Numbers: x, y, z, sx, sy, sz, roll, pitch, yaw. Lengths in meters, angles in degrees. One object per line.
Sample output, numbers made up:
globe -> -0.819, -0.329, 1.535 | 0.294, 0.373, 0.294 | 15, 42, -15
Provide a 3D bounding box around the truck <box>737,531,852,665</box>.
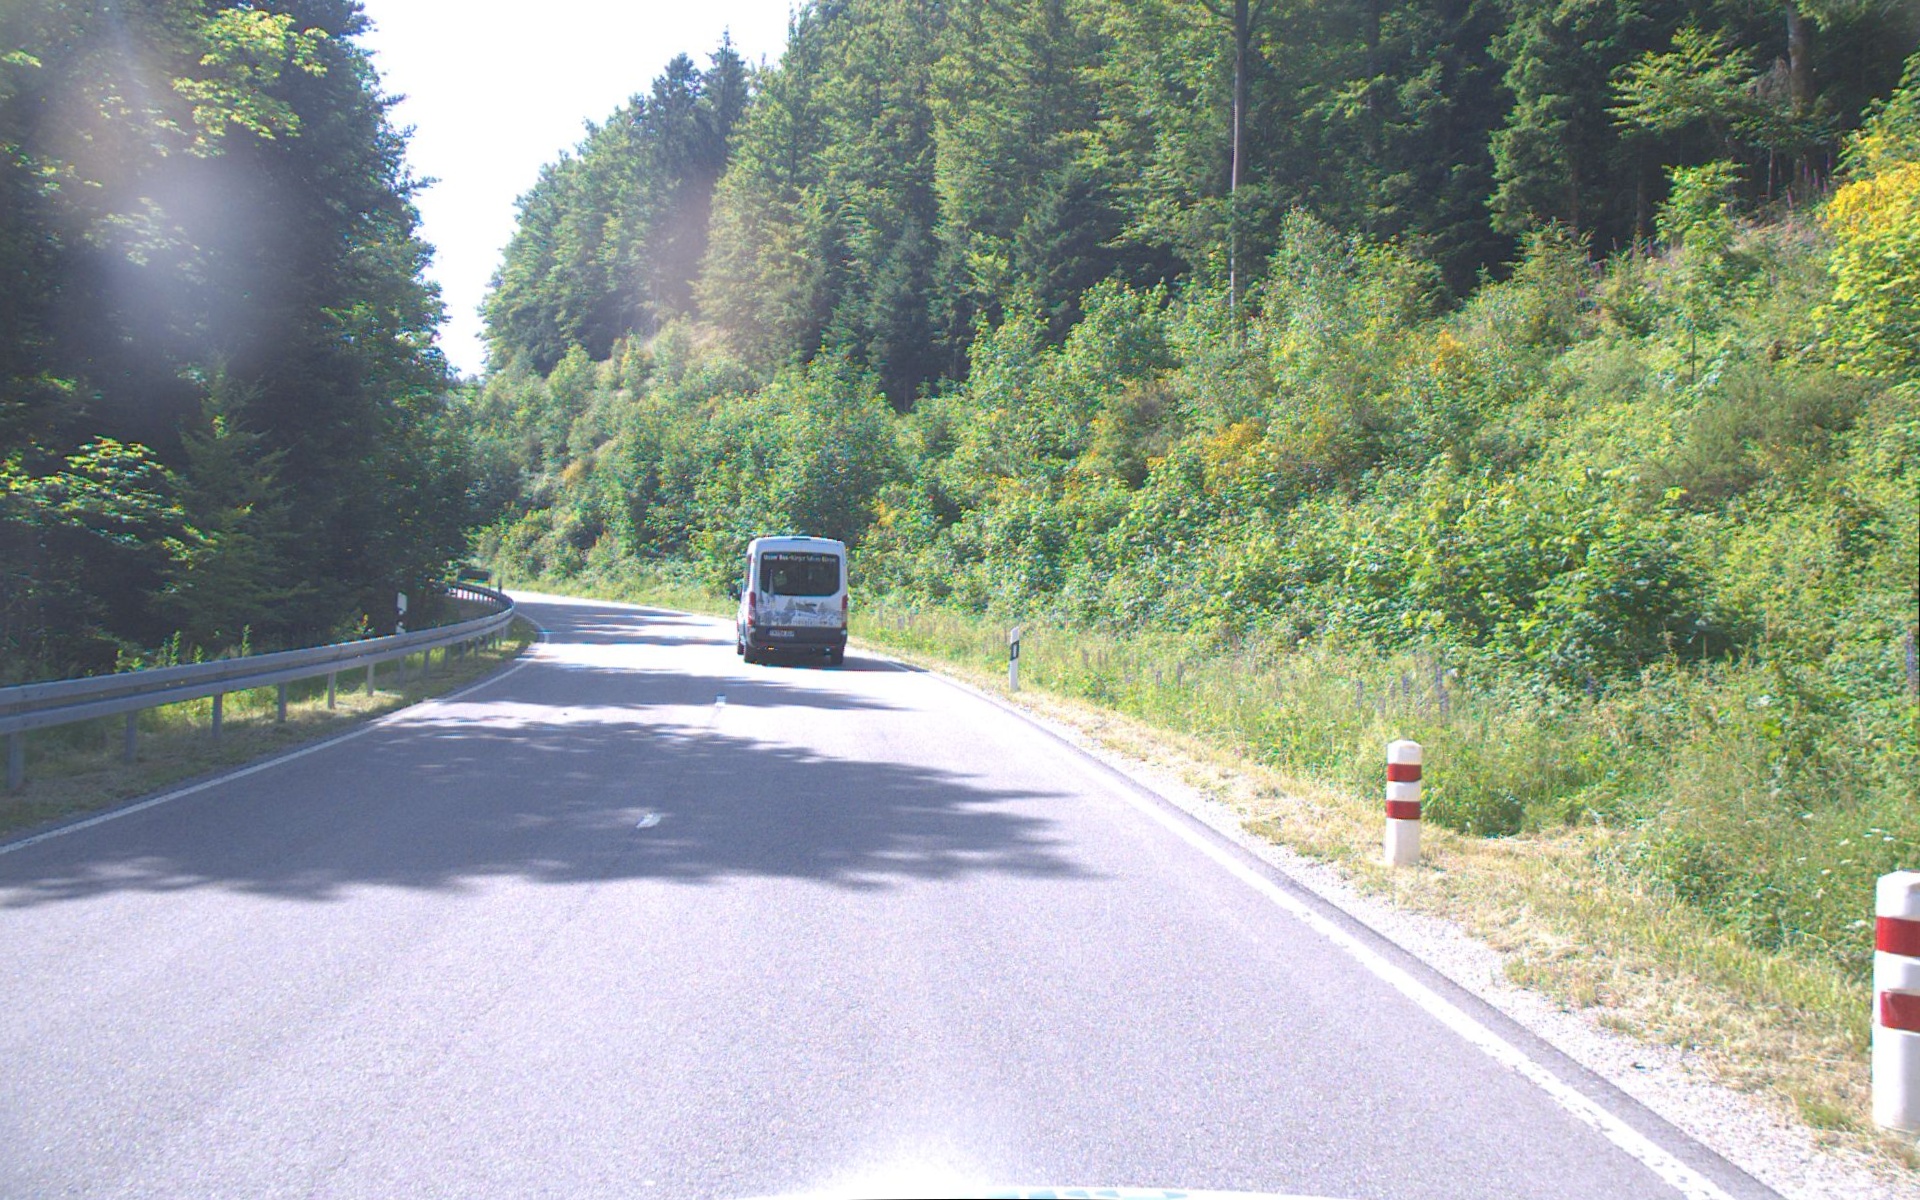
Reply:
truck -> -3.519, -0.058, 34.348 | 2.076, 2.542, 5.349 | 1, 1, -9
